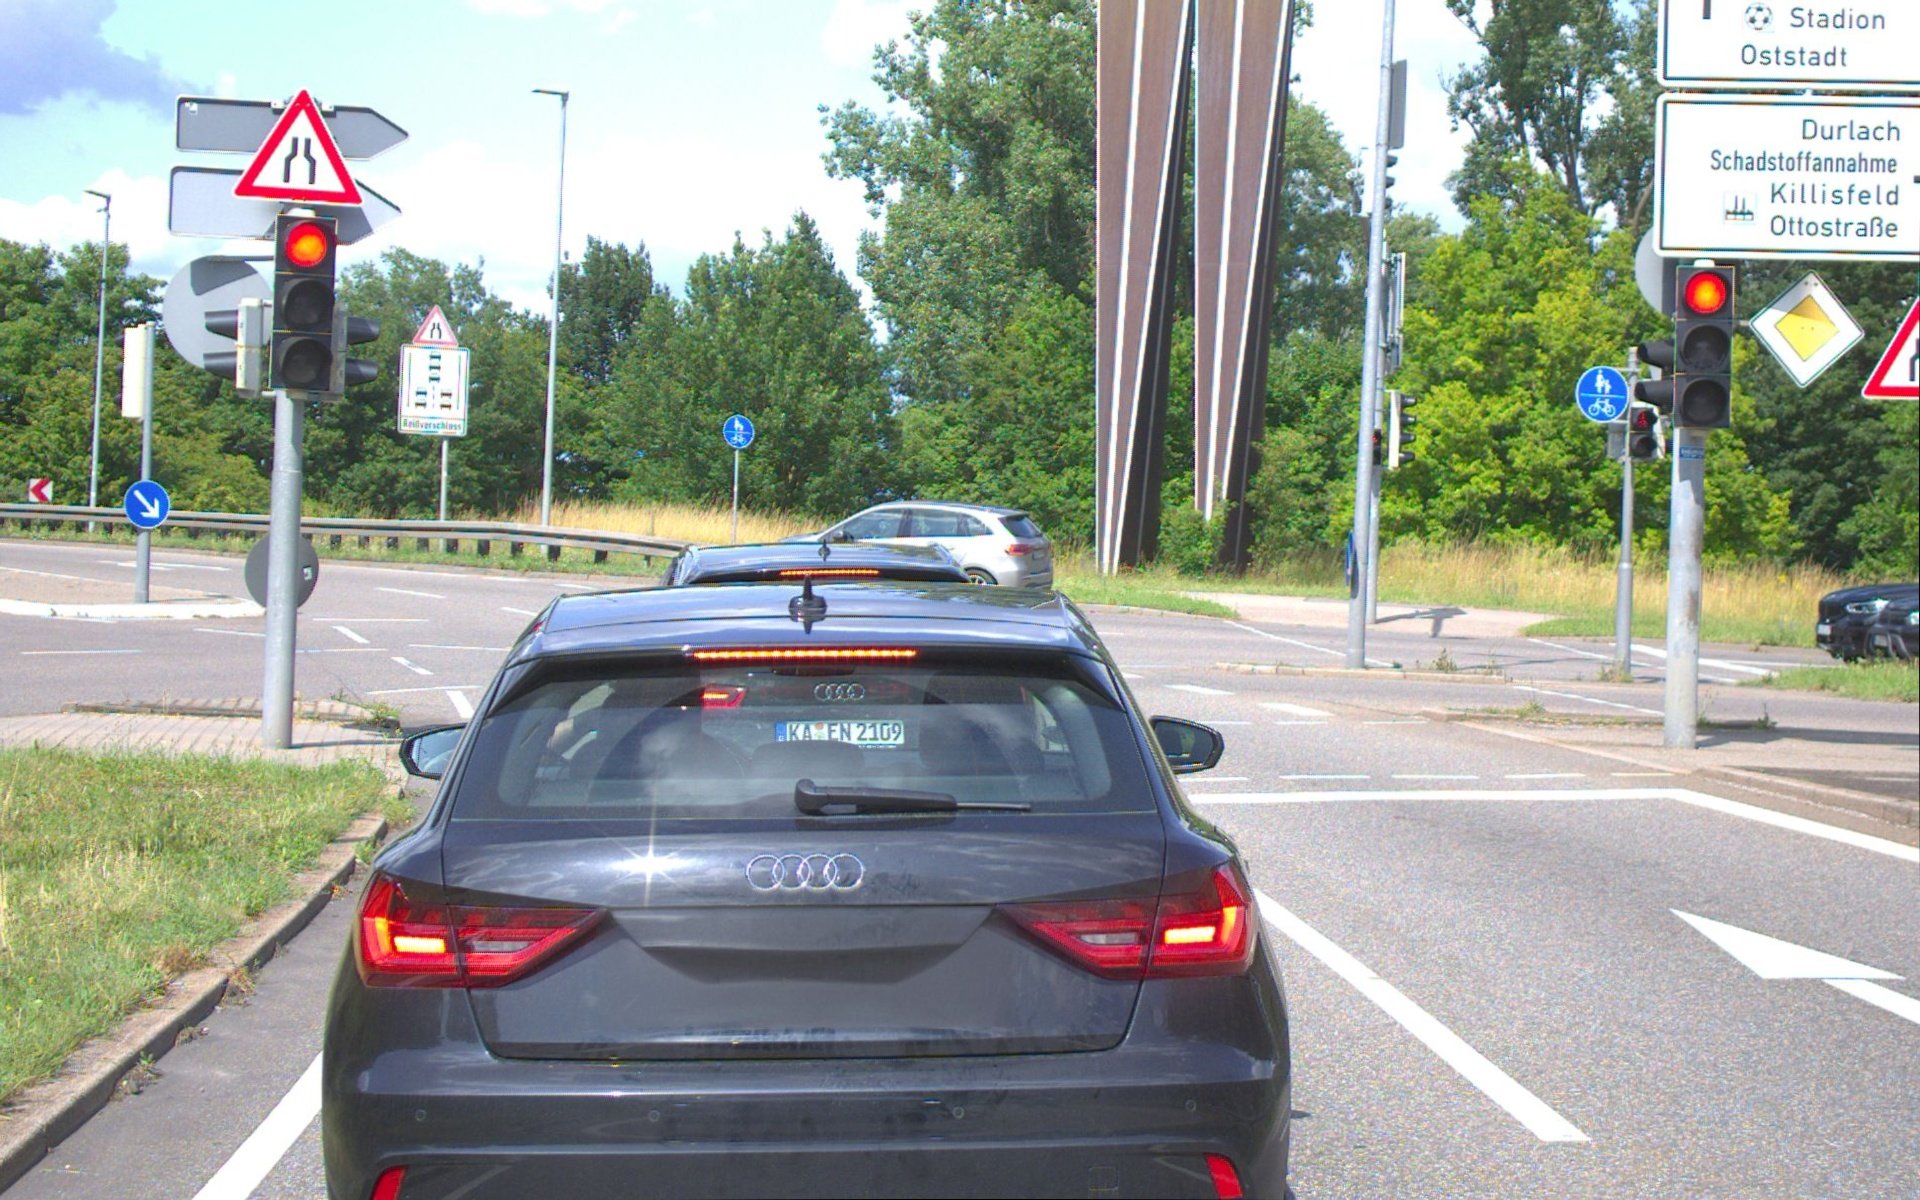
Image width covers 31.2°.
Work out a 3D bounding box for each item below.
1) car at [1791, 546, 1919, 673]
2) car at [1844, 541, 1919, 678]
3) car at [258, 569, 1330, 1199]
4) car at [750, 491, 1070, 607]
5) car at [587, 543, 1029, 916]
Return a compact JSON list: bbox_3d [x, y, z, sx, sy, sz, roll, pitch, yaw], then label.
[{"bbox_3d":[13.242,0.155,43.744,4.847,1.539,1.737,2,1,-1],"label":"car"},{"bbox_3d":[12.652,0.154,39.891,4.268,1.539,1.737,2,1,-1],"label":"car"},{"bbox_3d":[-0.289,0.663,7.549,1.726,1.399,4.000,0,1,-1],"label":"car"},{"bbox_3d":[-0.698,-0.730,49.205,4.109,1.491,1.998,2,1,18],"label":"car"},{"bbox_3d":[-0.746,0.470,15.348,1.726,1.418,3.845,0,1,-5],"label":"car"}]
